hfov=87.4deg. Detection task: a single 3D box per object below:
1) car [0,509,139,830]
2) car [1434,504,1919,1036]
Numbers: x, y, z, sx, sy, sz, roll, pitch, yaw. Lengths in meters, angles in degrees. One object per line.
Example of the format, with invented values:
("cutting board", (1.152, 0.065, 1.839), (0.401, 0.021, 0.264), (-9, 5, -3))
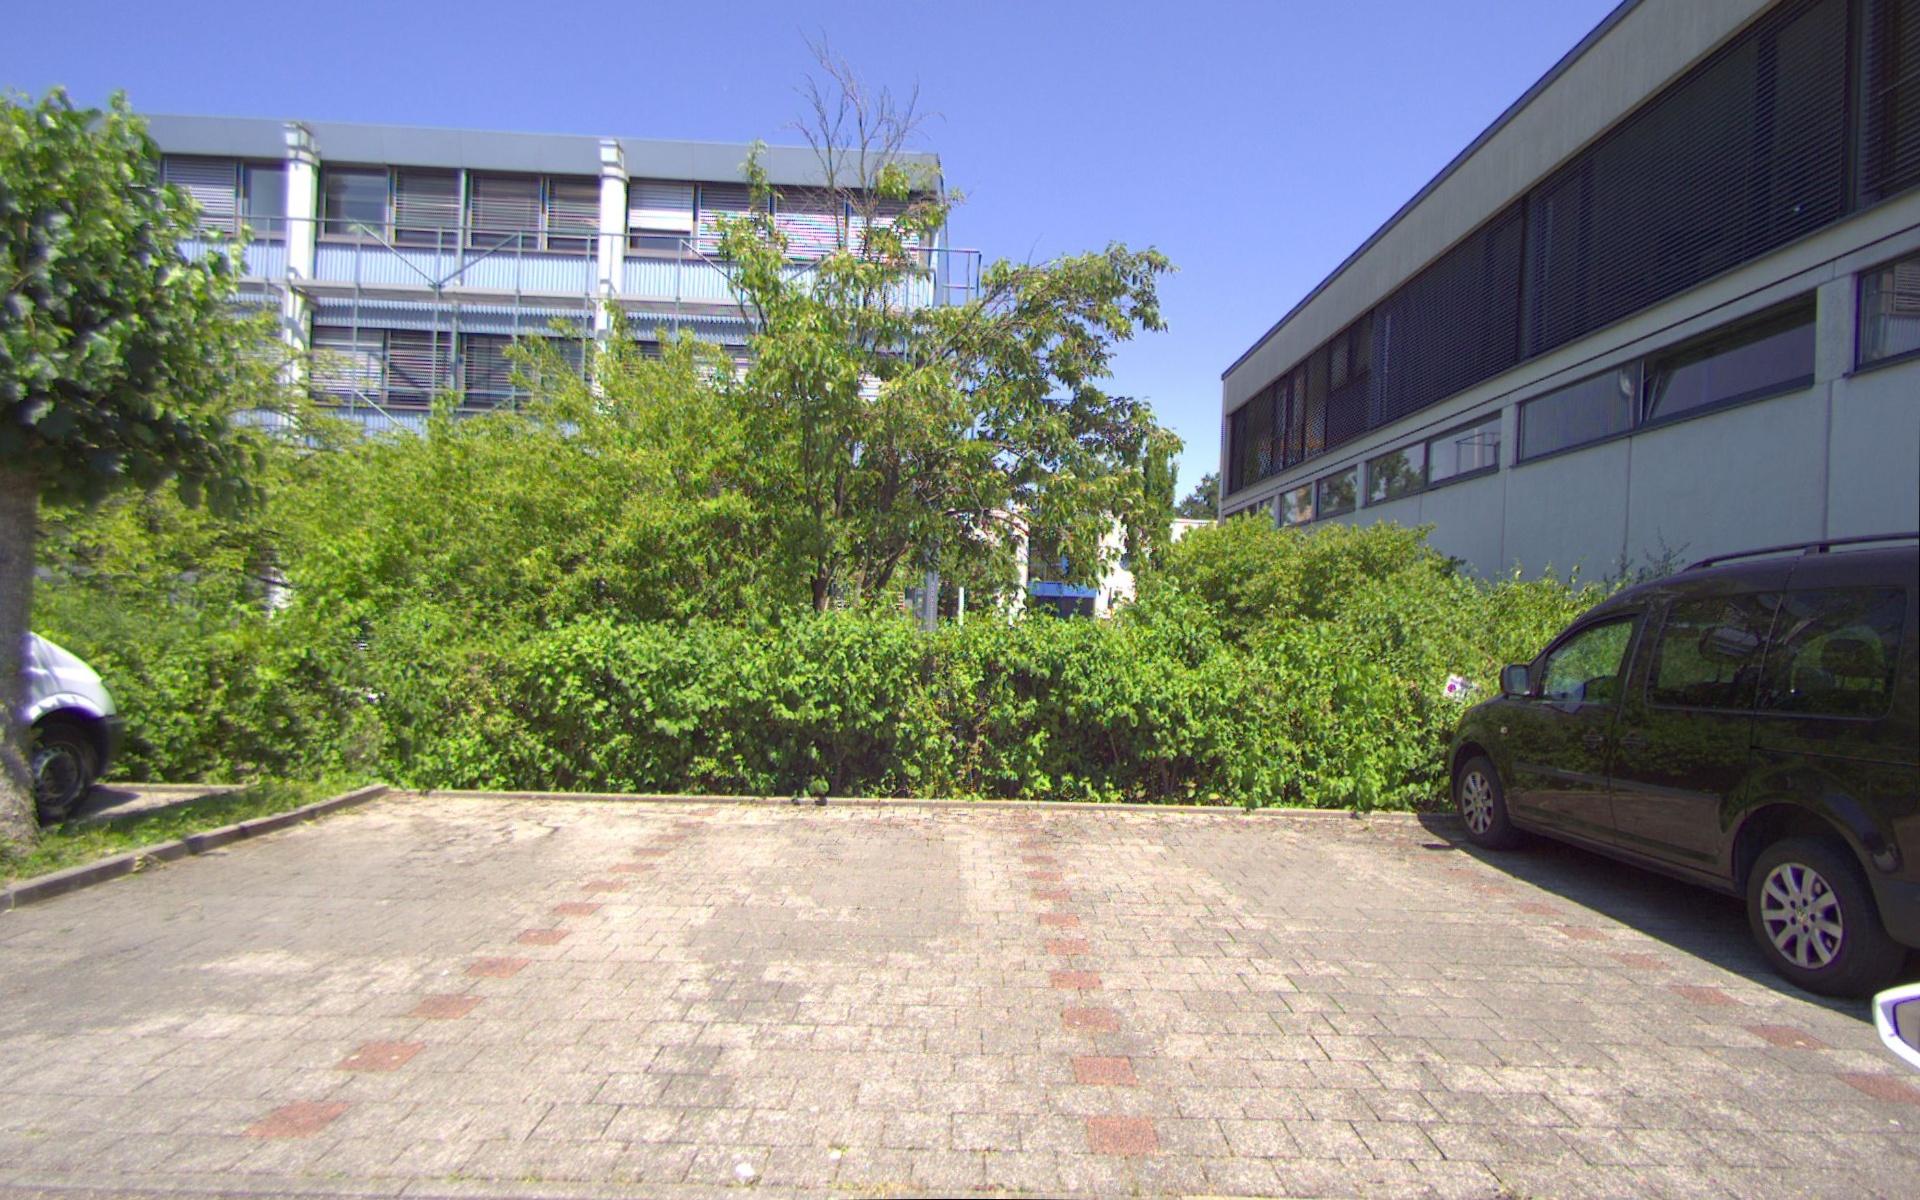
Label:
("car", (-6.625, 0.383, 4.647), (1.794, 1.931, 4.735), (1, -1, -1))
("car", (4.300, 0.647, 5.358), (1.645, 1.909, 4.072), (1, -1, 1))
